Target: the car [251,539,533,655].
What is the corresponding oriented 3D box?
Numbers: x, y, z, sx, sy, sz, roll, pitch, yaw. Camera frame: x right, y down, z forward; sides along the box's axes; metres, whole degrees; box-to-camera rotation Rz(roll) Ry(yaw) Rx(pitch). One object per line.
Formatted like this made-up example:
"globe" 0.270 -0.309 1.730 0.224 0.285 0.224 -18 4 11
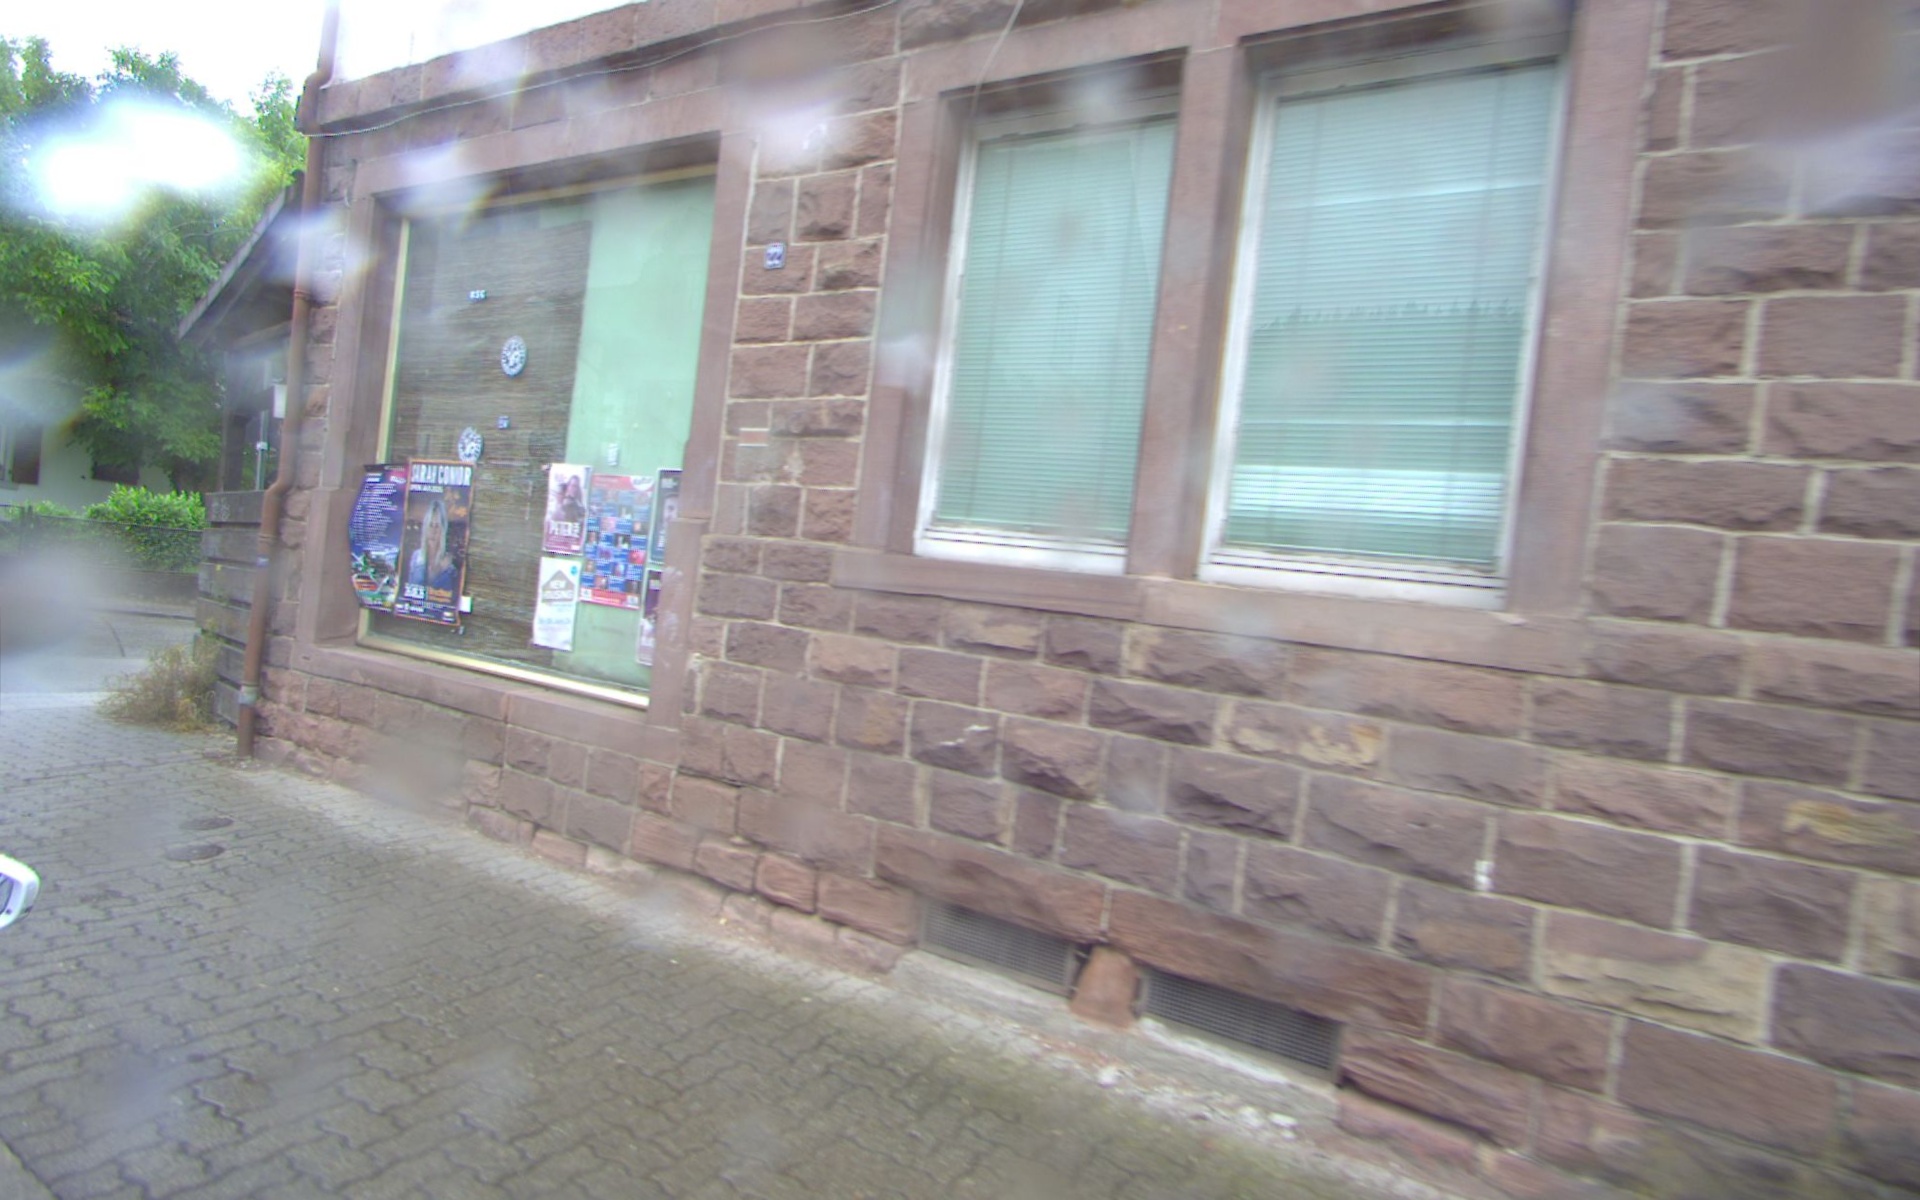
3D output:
"car" -10.061 -0.007 18.021 3.979 1.483 1.762 10 -3 -44
